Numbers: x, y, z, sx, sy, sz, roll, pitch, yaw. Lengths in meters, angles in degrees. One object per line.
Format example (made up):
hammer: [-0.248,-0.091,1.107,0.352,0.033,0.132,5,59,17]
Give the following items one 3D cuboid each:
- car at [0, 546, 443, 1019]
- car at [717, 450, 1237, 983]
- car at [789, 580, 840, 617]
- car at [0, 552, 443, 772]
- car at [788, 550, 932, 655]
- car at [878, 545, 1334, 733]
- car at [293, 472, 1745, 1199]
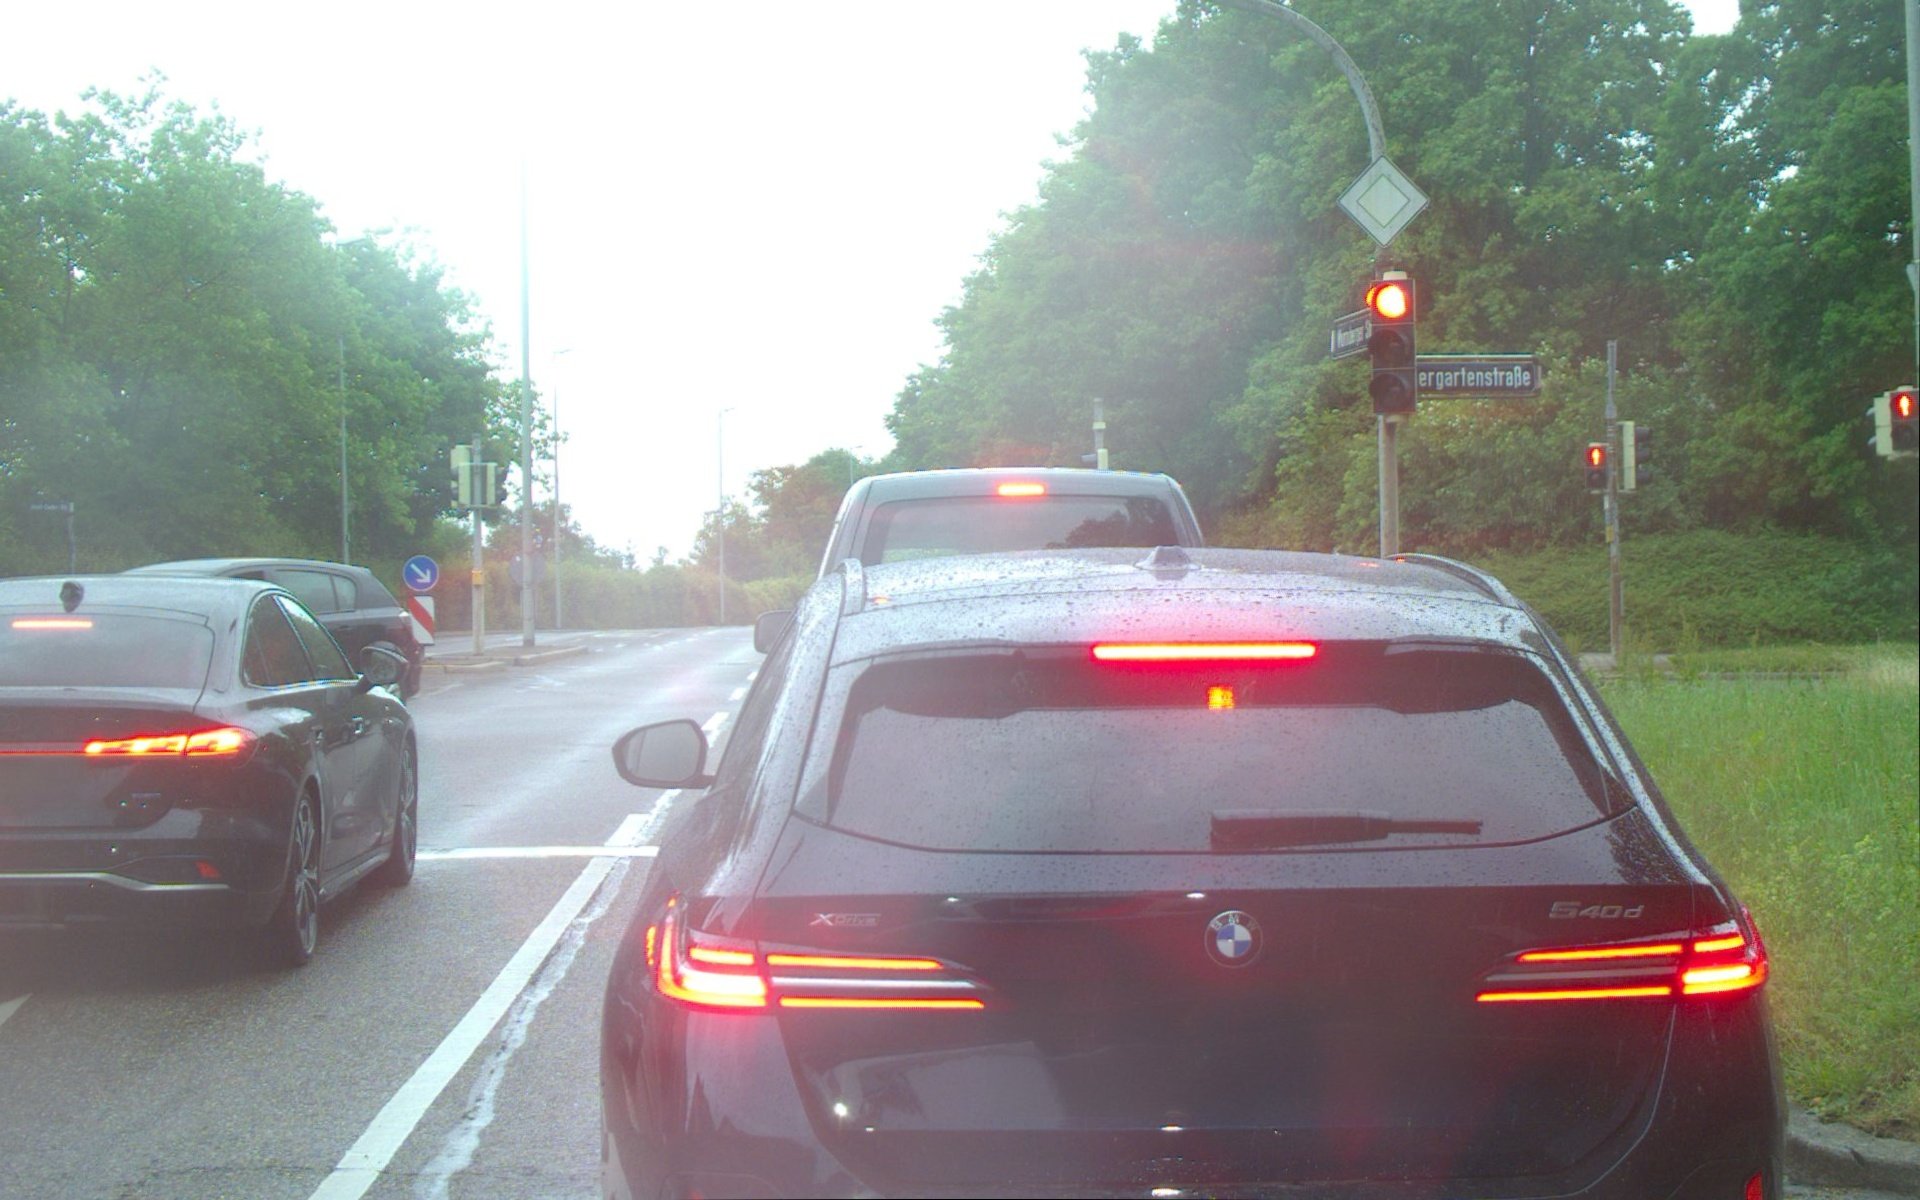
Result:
car: [-3.377,0.612,13.481,1.993,1.522,4.328,-3,0,0]
car: [0.056,0.394,13.993,1.818,1.862,3.952,0,0,0]
car: [-7.480,-0.084,176.839,1.994,1.820,3.999,-3,0,6]
car: [-6.207,0.445,27.034,1.899,1.504,3.992,-2,1,37]
car: [-1.507,0.033,50.623,1.697,1.422,3.514,-3,0,-8]
car: [1.407,0.352,33.489,4.017,1.596,1.749,-3,1,-19]
car: [0.185,0.614,6.803,1.898,1.546,4.614,0,0,3]
